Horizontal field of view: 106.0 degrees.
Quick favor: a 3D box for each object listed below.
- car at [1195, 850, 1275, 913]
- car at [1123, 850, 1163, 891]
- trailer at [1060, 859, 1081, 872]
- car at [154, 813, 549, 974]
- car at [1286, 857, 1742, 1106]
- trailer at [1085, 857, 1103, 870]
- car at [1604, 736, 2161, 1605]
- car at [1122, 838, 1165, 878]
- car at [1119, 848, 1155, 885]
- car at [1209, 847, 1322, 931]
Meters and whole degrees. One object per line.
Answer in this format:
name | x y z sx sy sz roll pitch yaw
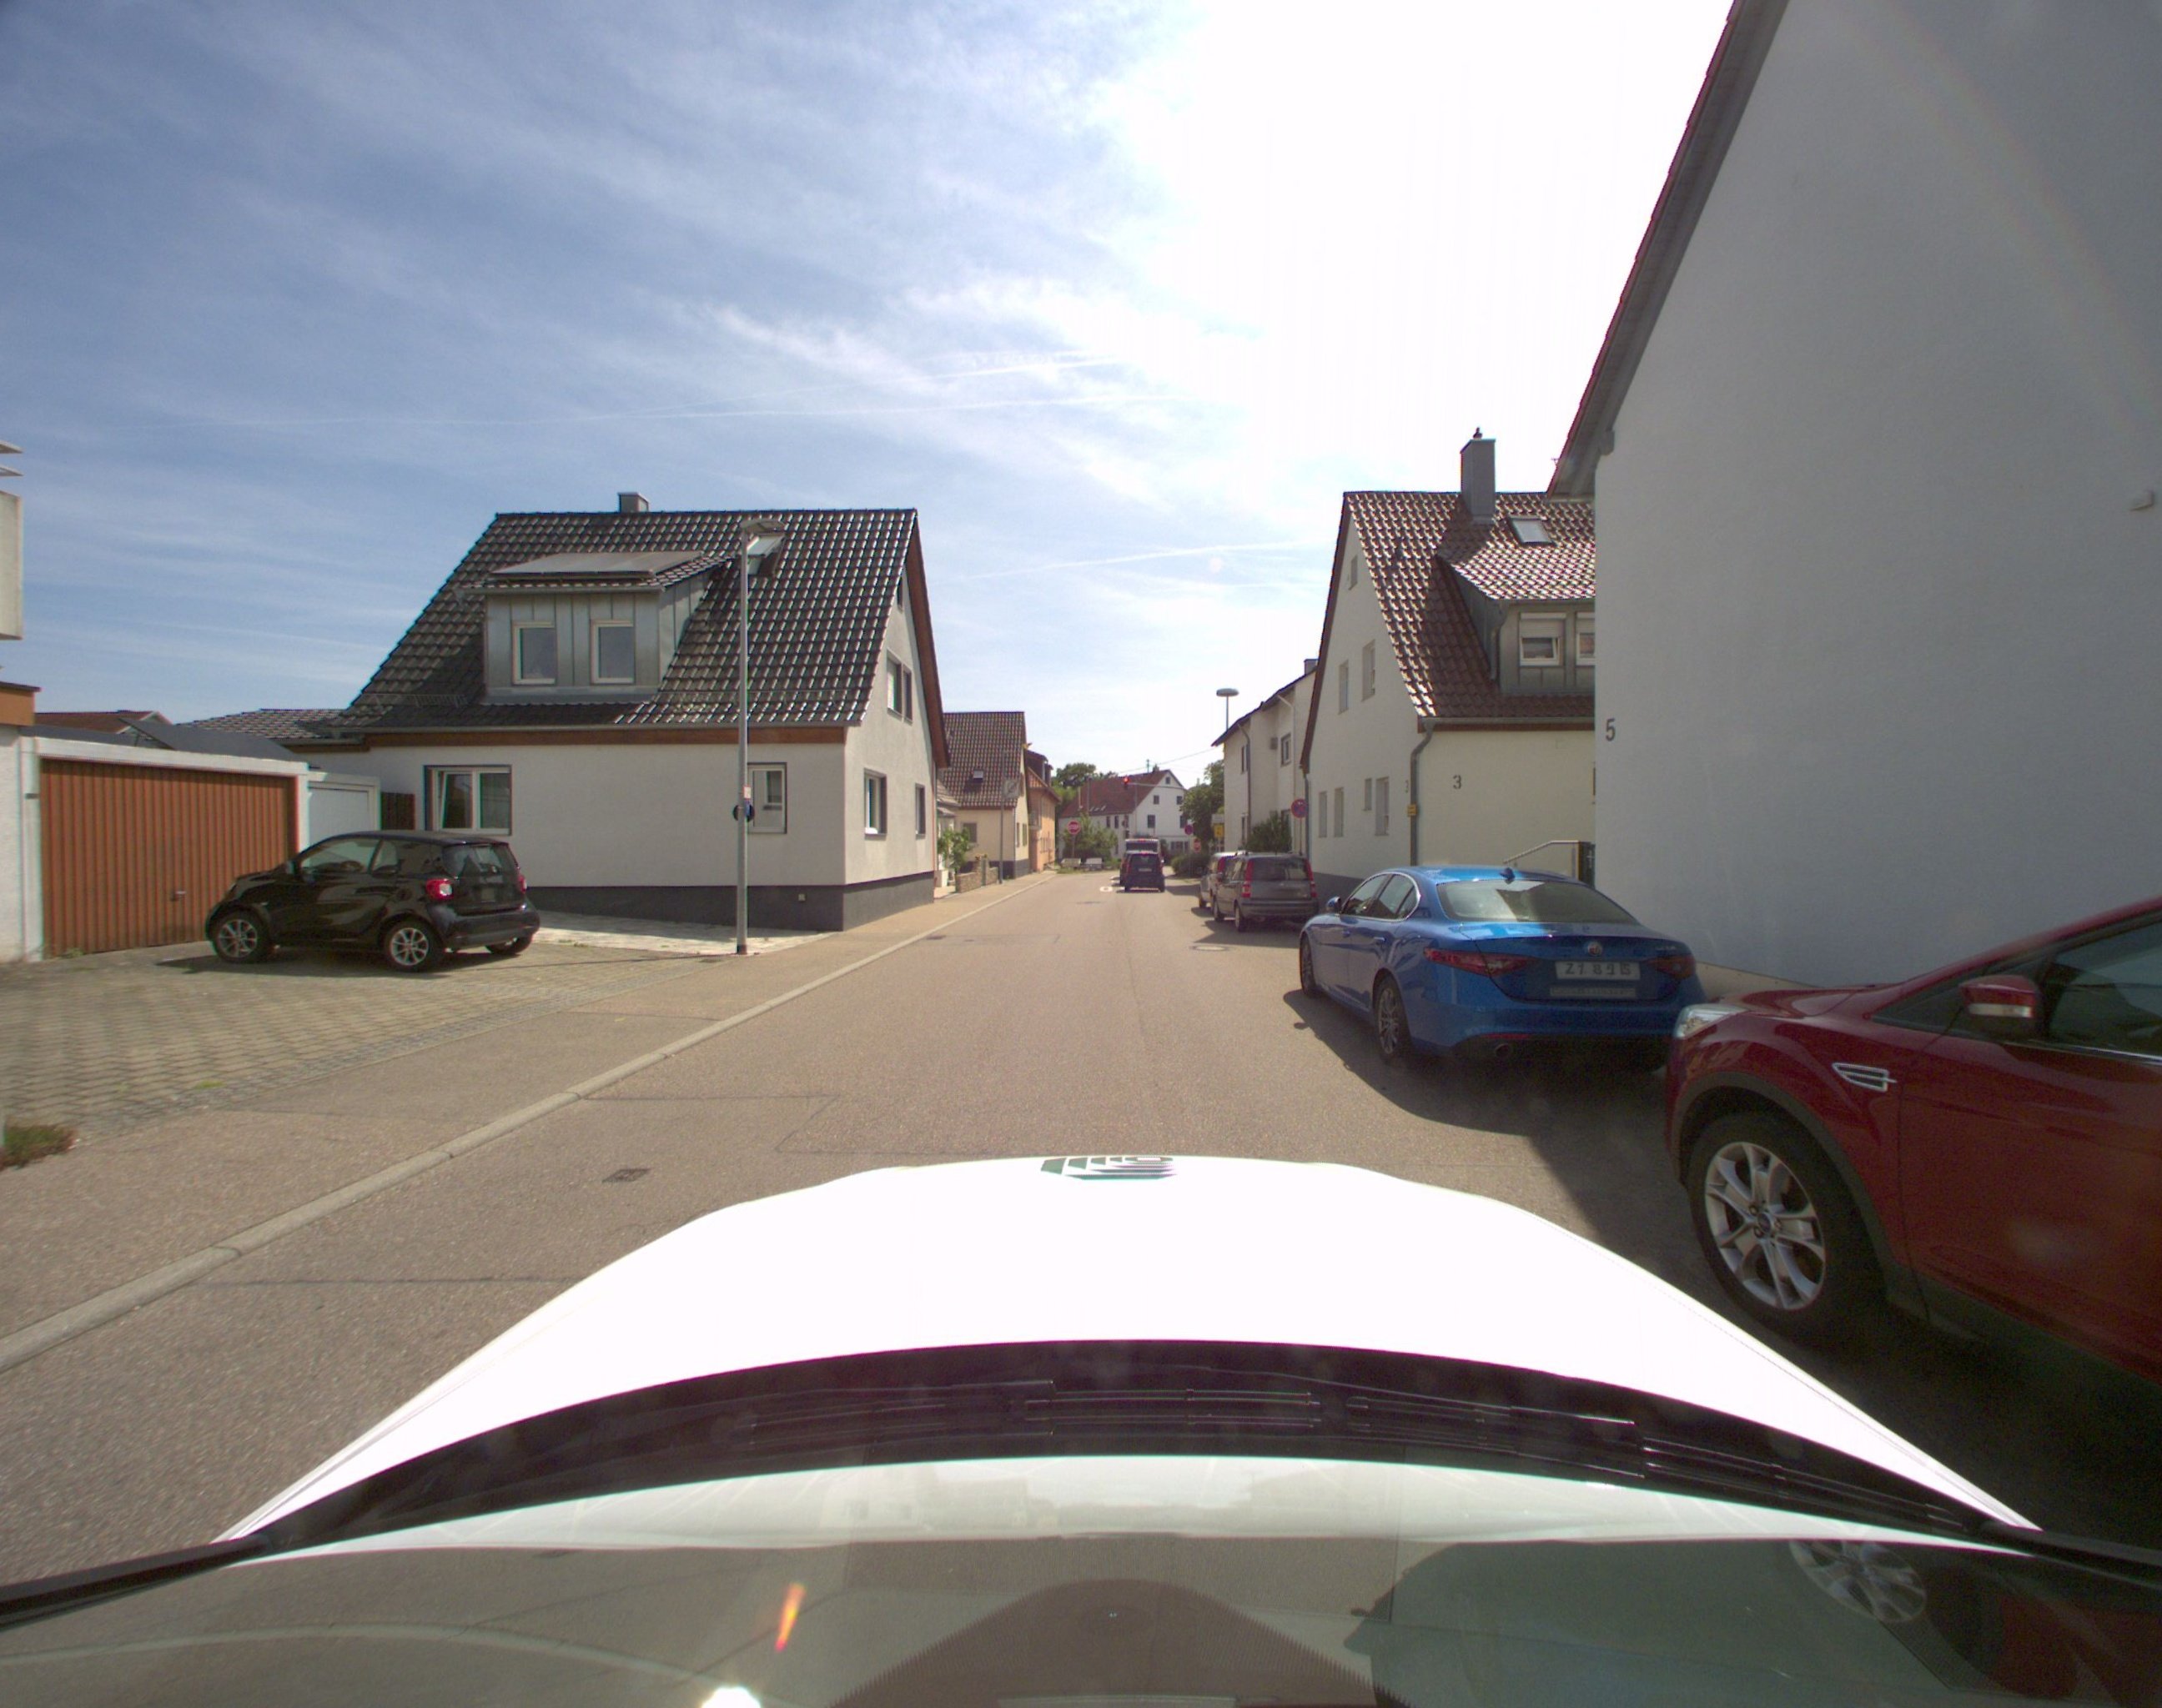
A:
car | 3.916 0.650 21.126 1.493 1.513 3.362 0 0 1
car | 2.491 0.614 32.215 1.508 1.567 3.189 0 0 5
trailer | -0.809 0.847 61.991 1.495 0.927 1.013 2 0 3
car | -8.569 0.429 9.800 3.100 1.577 1.714 3 0 0
car | 3.128 0.753 7.105 1.756 1.424 4.596 0 0 3
trailer | 1.011 0.696 61.870 1.305 0.970 0.934 0 0 3
car | 3.043 0.629 1.303 1.868 1.700 4.186 1 0 2
car | 3.592 0.188 46.236 2.117 2.158 4.747 0 0 8
car | 2.573 0.531 36.984 1.508 1.624 3.189 -1 0 5
car | 3.711 0.649 16.919 1.562 1.545 3.448 0 0 0
